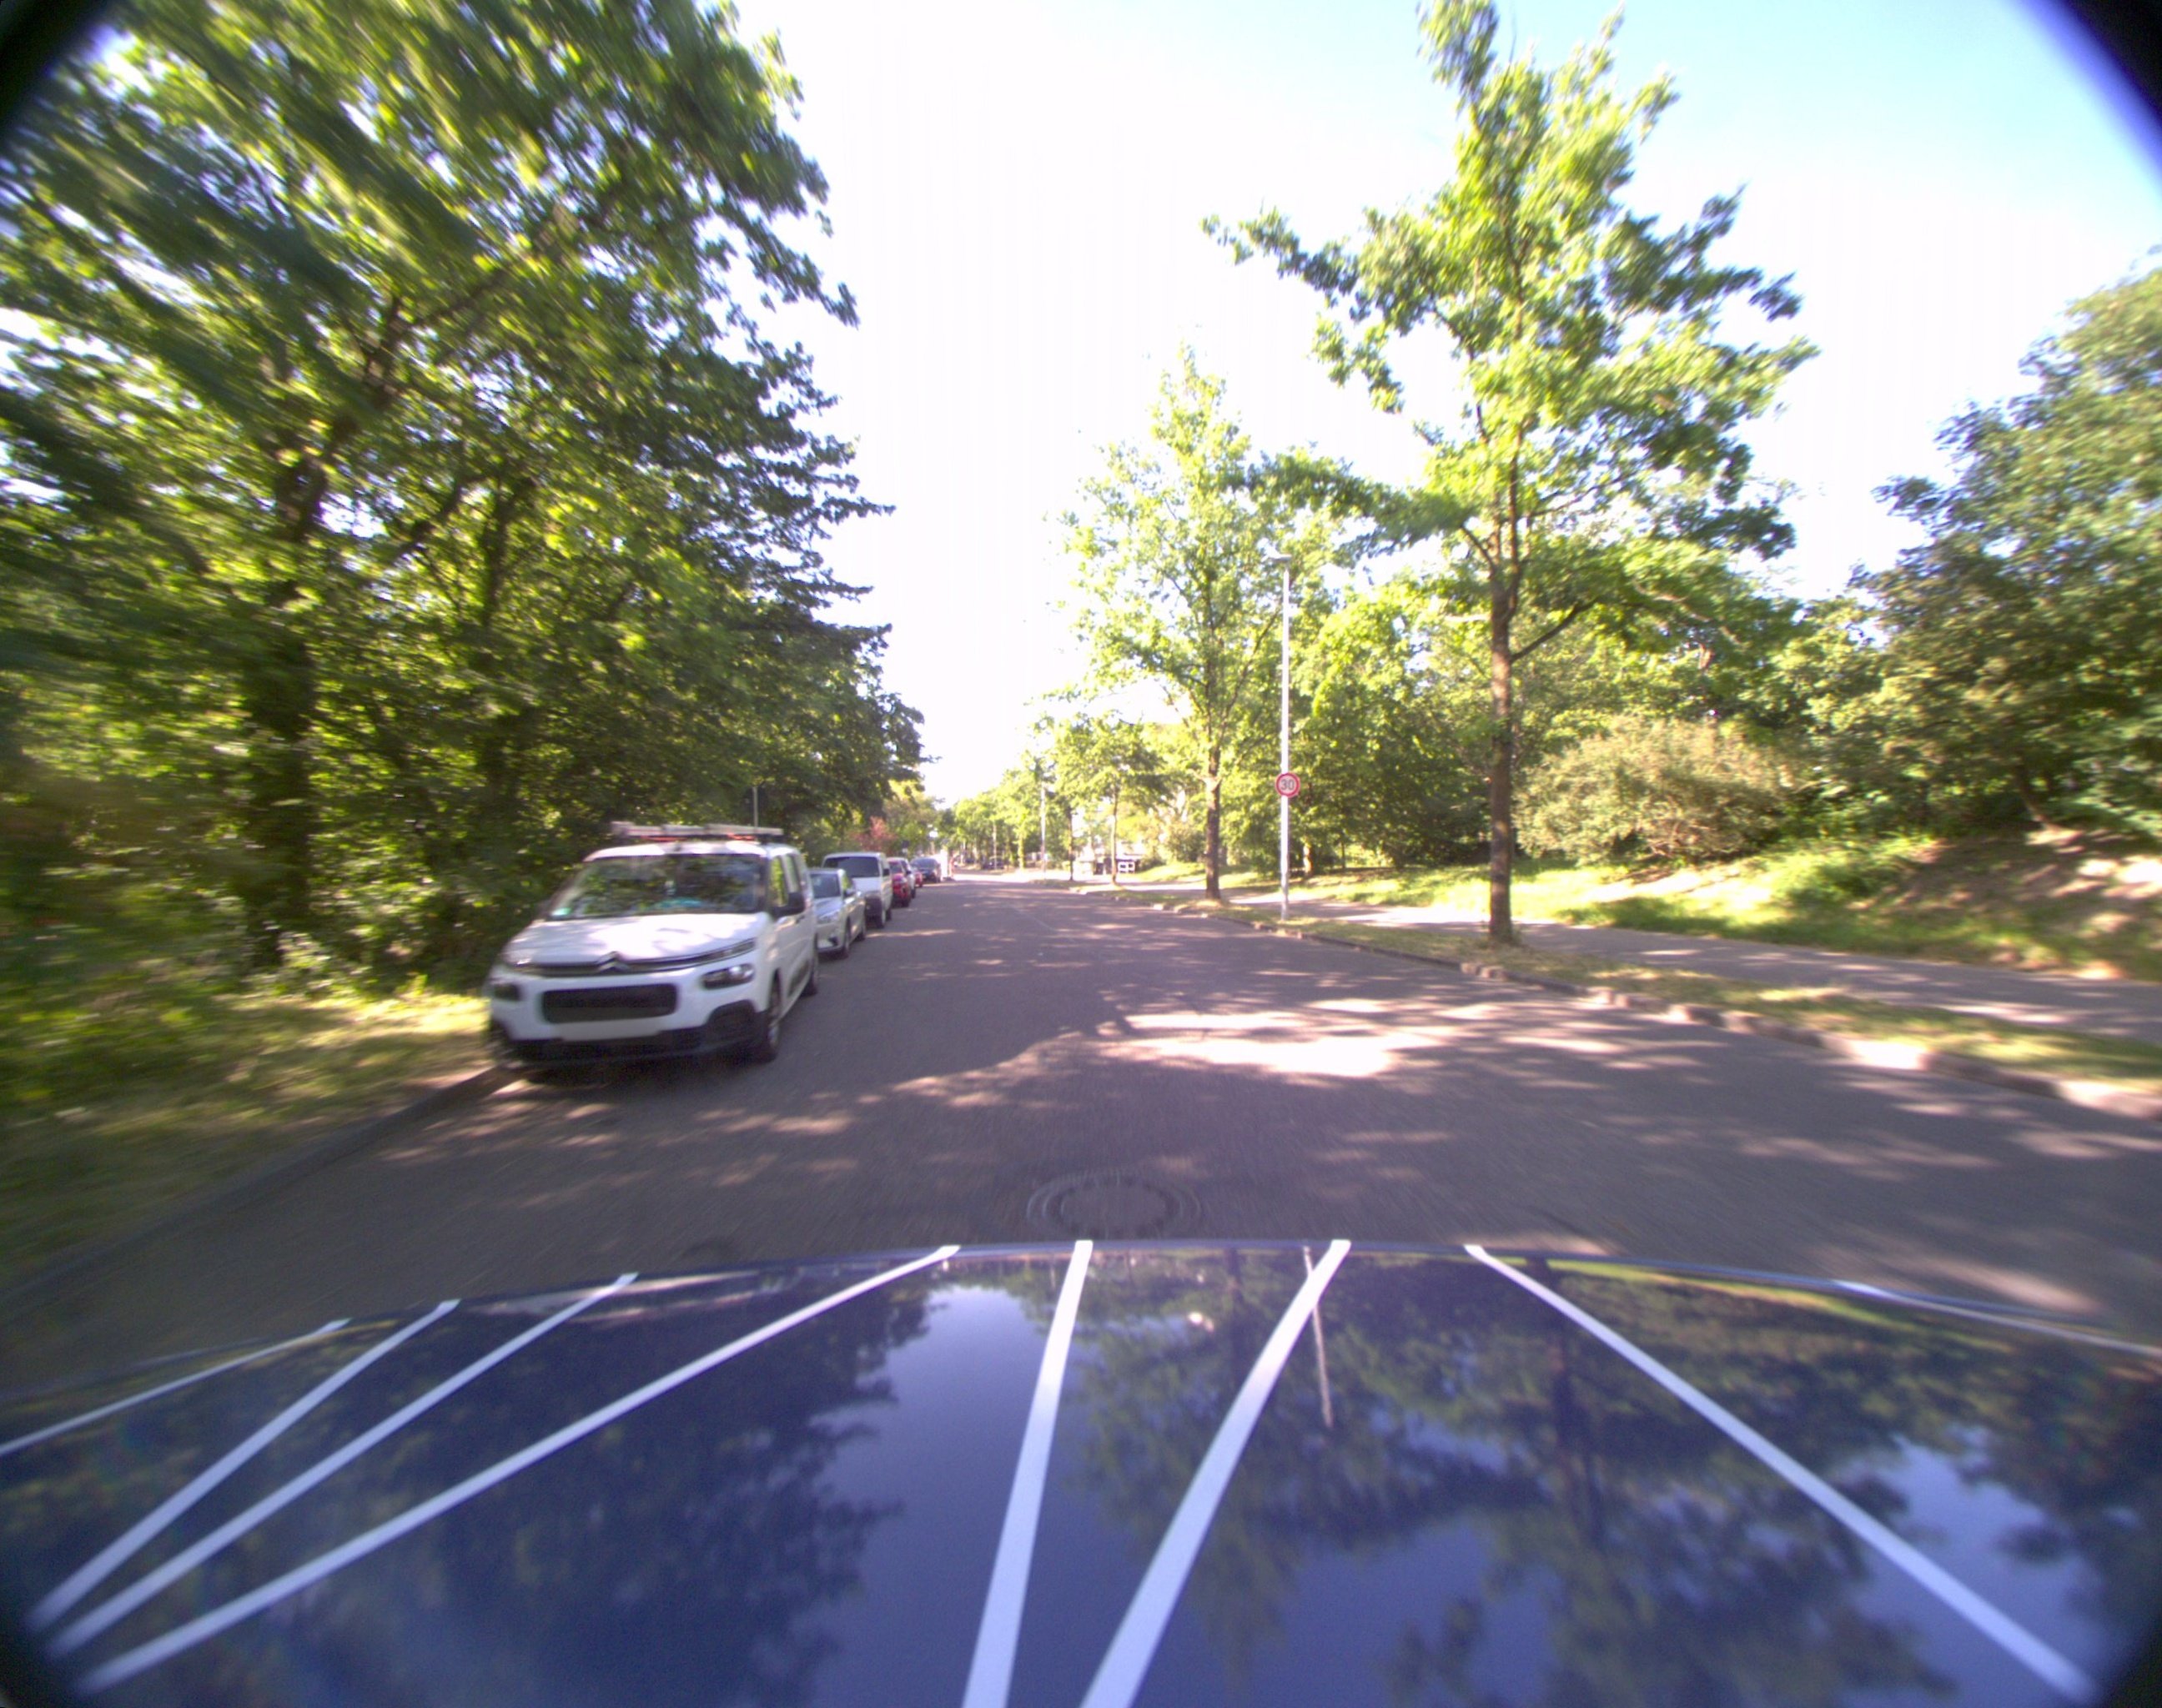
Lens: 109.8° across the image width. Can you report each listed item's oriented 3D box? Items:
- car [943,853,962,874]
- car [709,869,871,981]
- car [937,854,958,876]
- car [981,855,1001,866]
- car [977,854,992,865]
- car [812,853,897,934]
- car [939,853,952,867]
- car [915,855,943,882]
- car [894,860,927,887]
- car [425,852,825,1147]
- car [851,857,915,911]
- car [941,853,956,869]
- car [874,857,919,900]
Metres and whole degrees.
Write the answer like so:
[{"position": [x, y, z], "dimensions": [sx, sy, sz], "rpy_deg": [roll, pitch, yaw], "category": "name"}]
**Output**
[{"position": [-10.504, 0.768, 62.320], "dimensions": [1.451, 1.644, 3.717], "rpy_deg": [-1, 0, -8], "category": "car"}, {"position": [-4.762, 1.053, 13.127], "dimensions": [1.724, 1.436, 4.610], "rpy_deg": [-2, 0, -10], "category": "car"}, {"position": [-10.136, 0.796, 57.743], "dimensions": [1.451, 1.644, 3.717], "rpy_deg": [-1, 0, -8], "category": "car"}, {"position": [-12.063, 0.892, 101.472], "dimensions": [2.001, 1.359, 3.994], "rpy_deg": [0, 0, -16], "category": "car"}, {"position": [-15.369, 0.857, 120.925], "dimensions": [2.001, 1.574, 3.995], "rpy_deg": [0, 0, -12], "category": "car"}, {"position": [-5.369, 0.856, 18.382], "dimensions": [1.501, 1.744, 3.798], "rpy_deg": [-1, 0, -10], "category": "car"}, {"position": [-16.846, 0.715, 94.288], "dimensions": [1.423, 1.644, 3.907], "rpy_deg": [-1, 0, -8], "category": "car"}, {"position": [-9.637, 0.900, 48.438], "dimensions": [1.501, 1.644, 4.088], "rpy_deg": [-1, 0, -8], "category": "car"}, {"position": [-9.368, 1.043, 41.888], "dimensions": [1.501, 1.351, 3.464], "rpy_deg": [-1, 0, -8], "category": "car"}, {"position": [-3.554, 0.870, 7.002], "dimensions": [1.756, 1.739, 4.628], "rpy_deg": [-1, 1, -13], "category": "car"}, {"position": [-6.586, 0.935, 25.593], "dimensions": [1.774, 1.629, 3.749], "rpy_deg": [-1, 0, -10], "category": "car"}, {"position": [-14.177, 0.727, 81.416], "dimensions": [1.423, 1.644, 3.907], "rpy_deg": [-1, 0, -8], "category": "car"}, {"position": [-7.503, 0.936, 31.133], "dimensions": [1.501, 1.629, 3.749], "rpy_deg": [-1, 0, -10], "category": "car"}]
